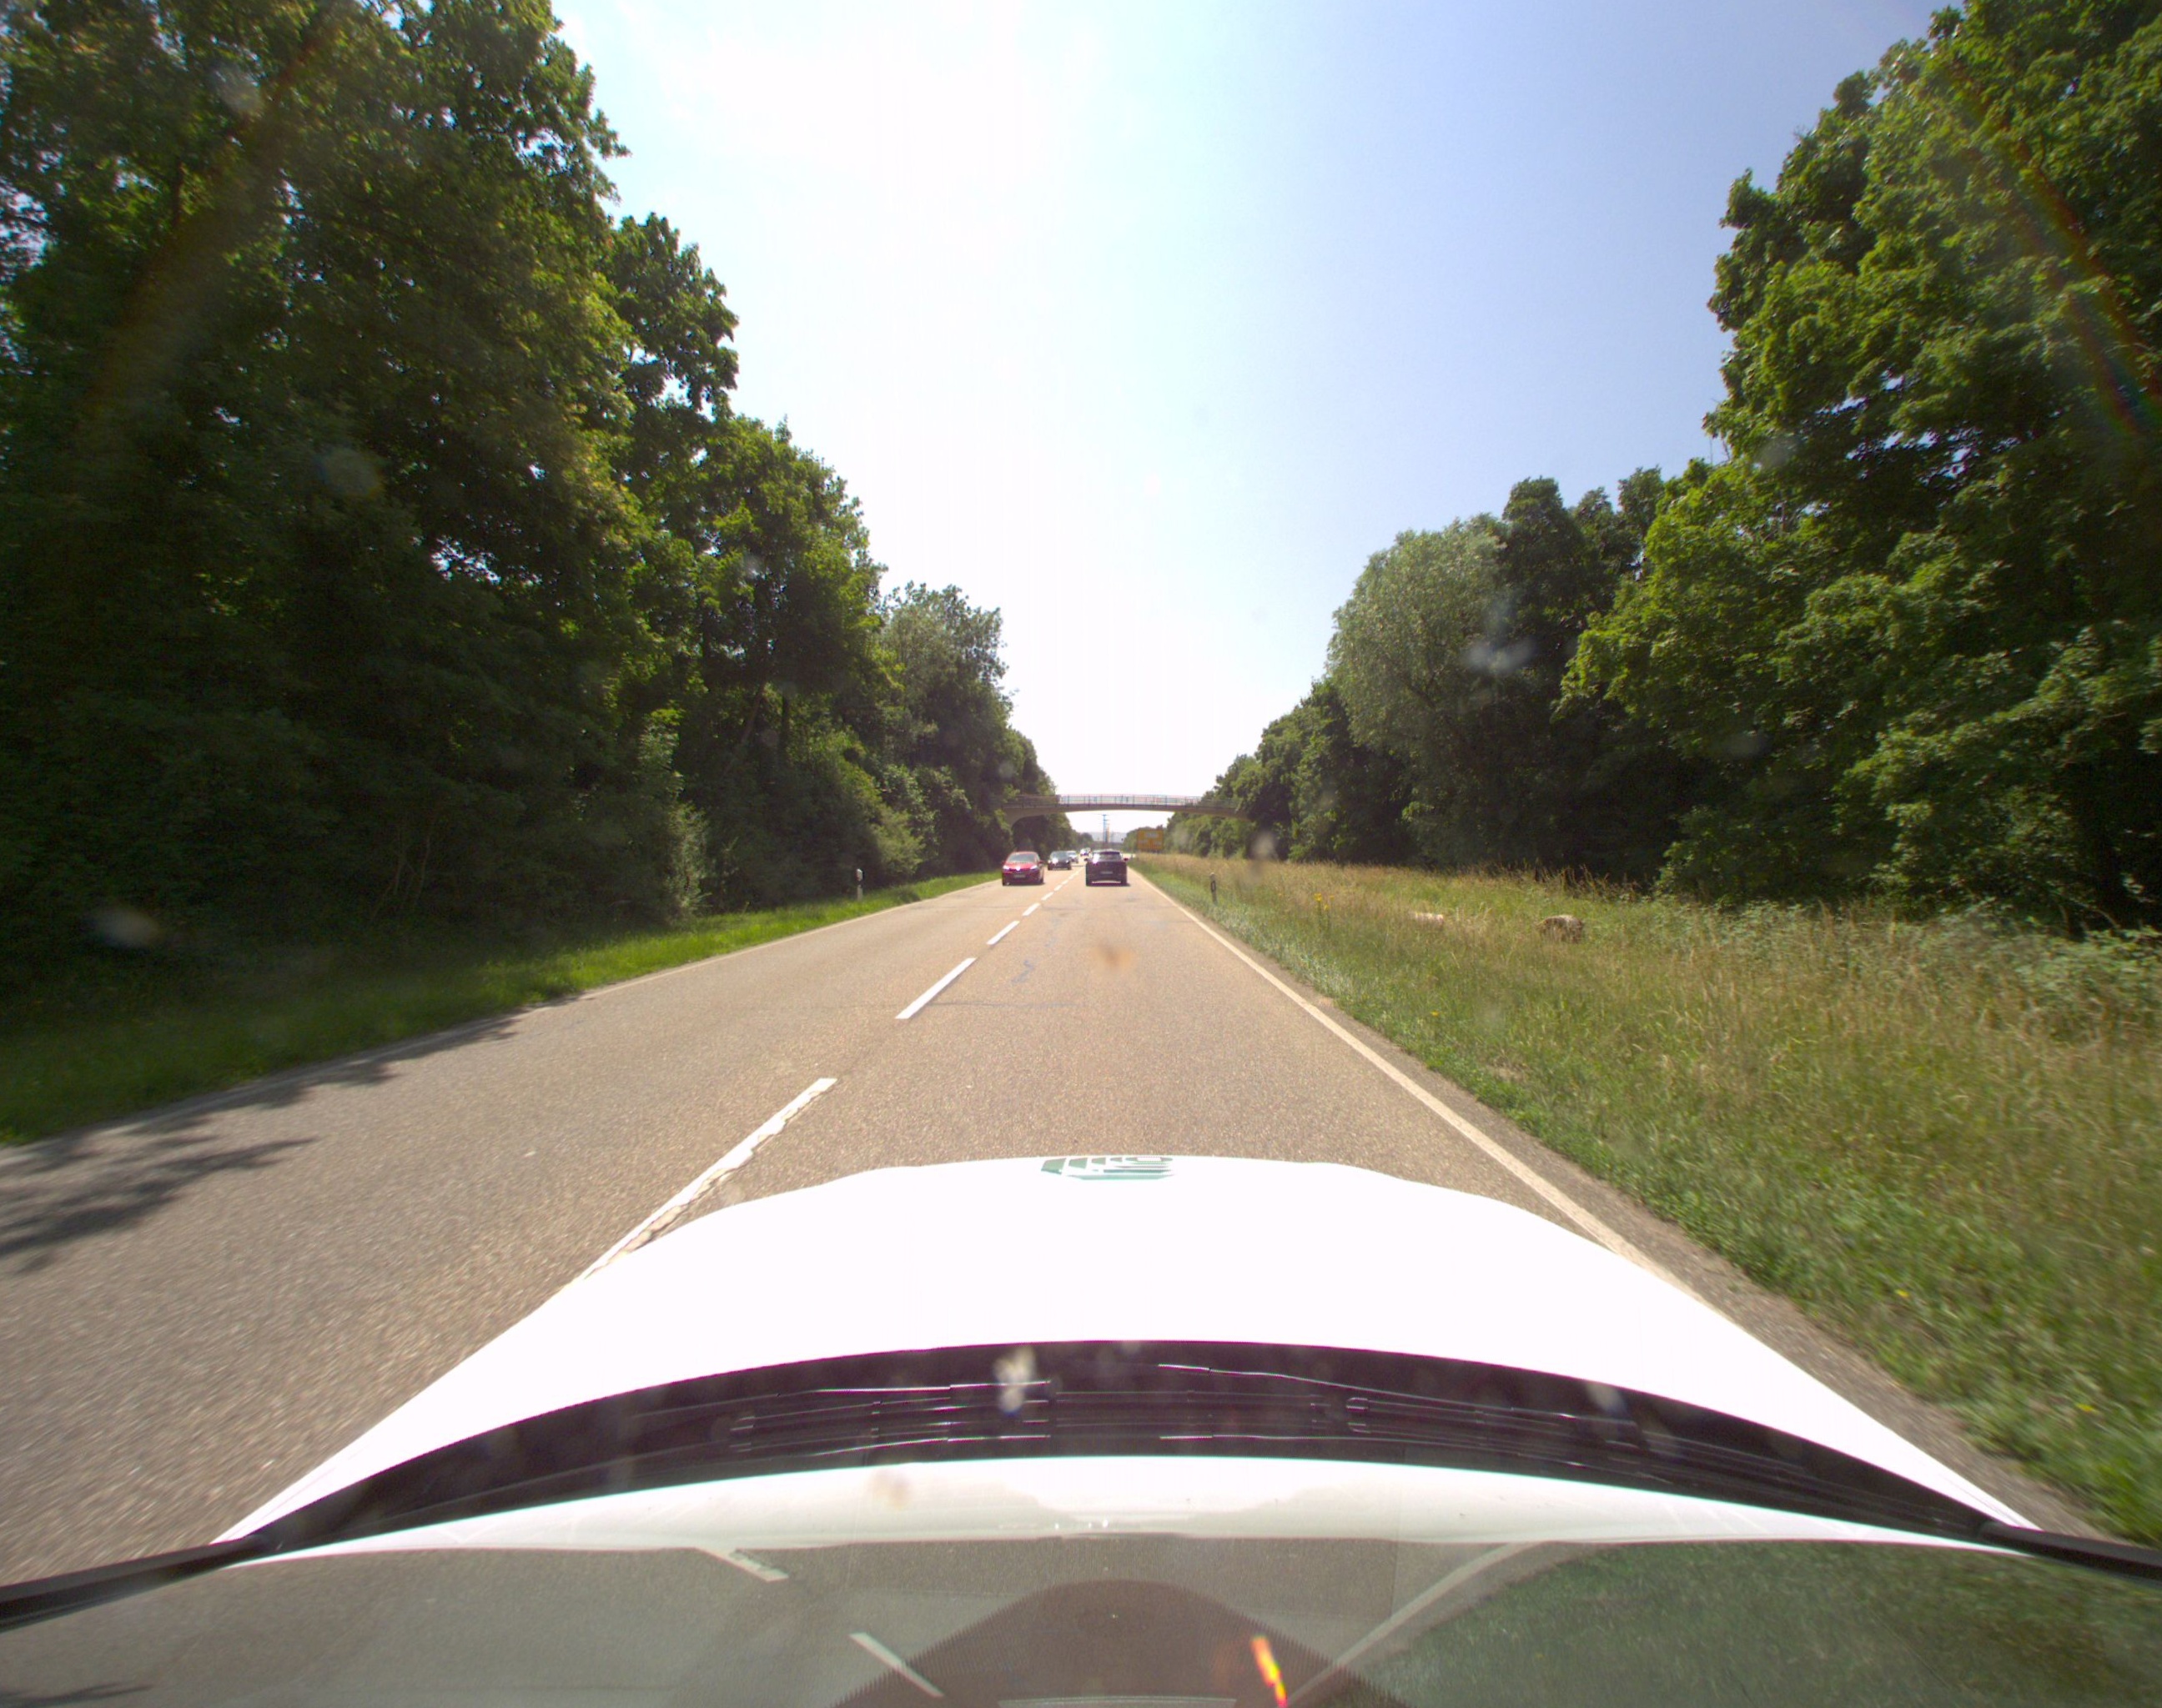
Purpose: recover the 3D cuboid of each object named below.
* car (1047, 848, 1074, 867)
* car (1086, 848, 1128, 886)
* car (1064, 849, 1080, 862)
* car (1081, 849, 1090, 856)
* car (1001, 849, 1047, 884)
[{"bbox_3d":[-1.599,0.287,64.370,1.776,1.449,4.113,-1,0,3],"label":"car"},{"bbox_3d":[1.207,0.538,35.978,1.748,1.556,4.004,1,0,3],"label":"car"},{"bbox_3d":[-1.043,0.165,97.209,1.671,1.433,3.775,-1,0,3],"label":"car"},{"bbox_3d":[1.094,-0.268,188.724,1.816,1.590,4.421,-1,0,2],"label":"car"},{"bbox_3d":[-2.580,0.542,37.451,1.676,1.493,4.002,-1,0,2],"label":"car"}]
